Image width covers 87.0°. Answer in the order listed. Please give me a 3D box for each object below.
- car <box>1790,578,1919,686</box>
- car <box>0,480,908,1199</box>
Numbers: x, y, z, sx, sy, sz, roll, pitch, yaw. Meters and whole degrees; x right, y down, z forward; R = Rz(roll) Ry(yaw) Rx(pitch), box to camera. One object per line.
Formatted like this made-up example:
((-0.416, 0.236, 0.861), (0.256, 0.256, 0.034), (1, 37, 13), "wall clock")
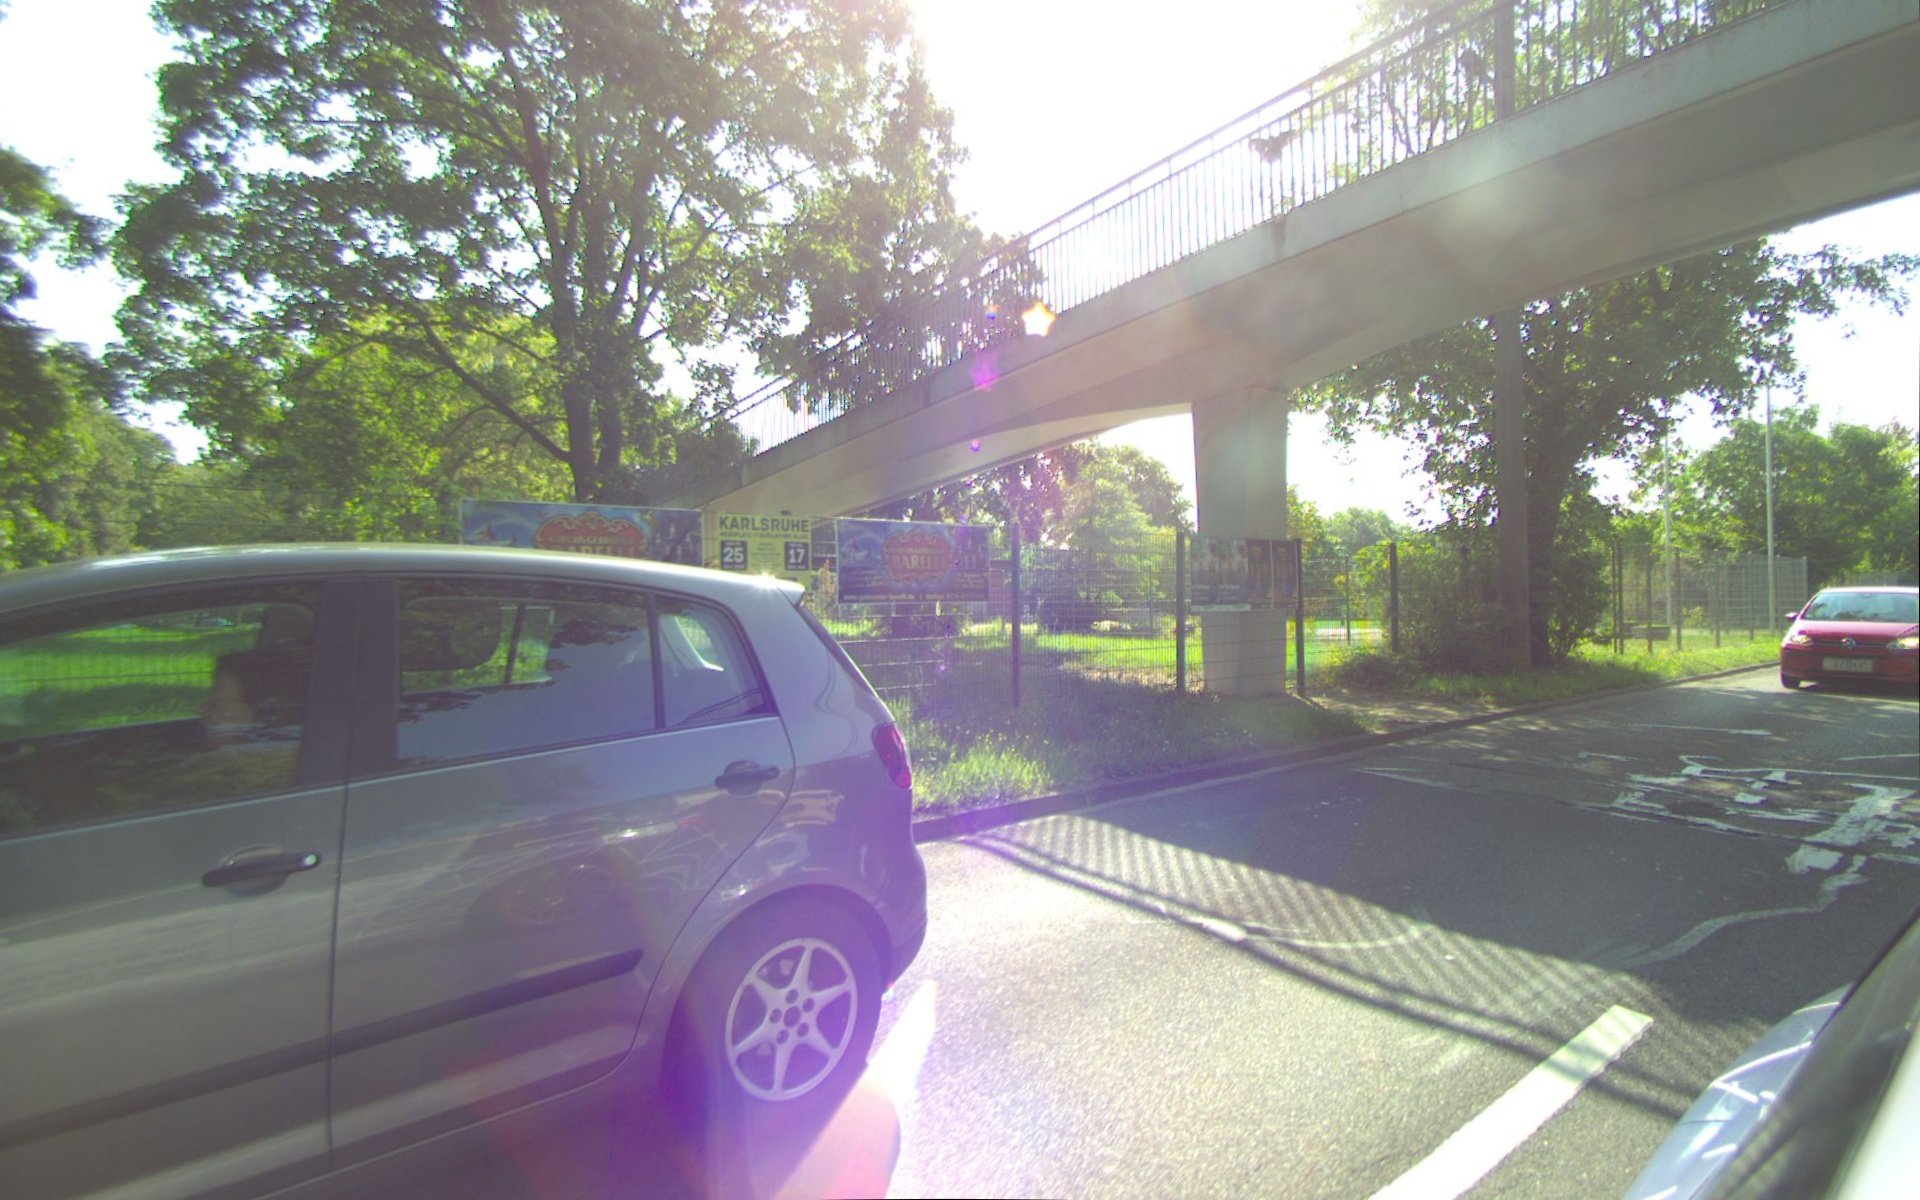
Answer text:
((13.628, 0.393, 14.808), (3.408, 1.416, 1.579), (-1, 1, -37), "car")
((-2.142, 0.601, 2.320), (3.831, 1.576, 1.648), (-1, -1, -41), "car")
